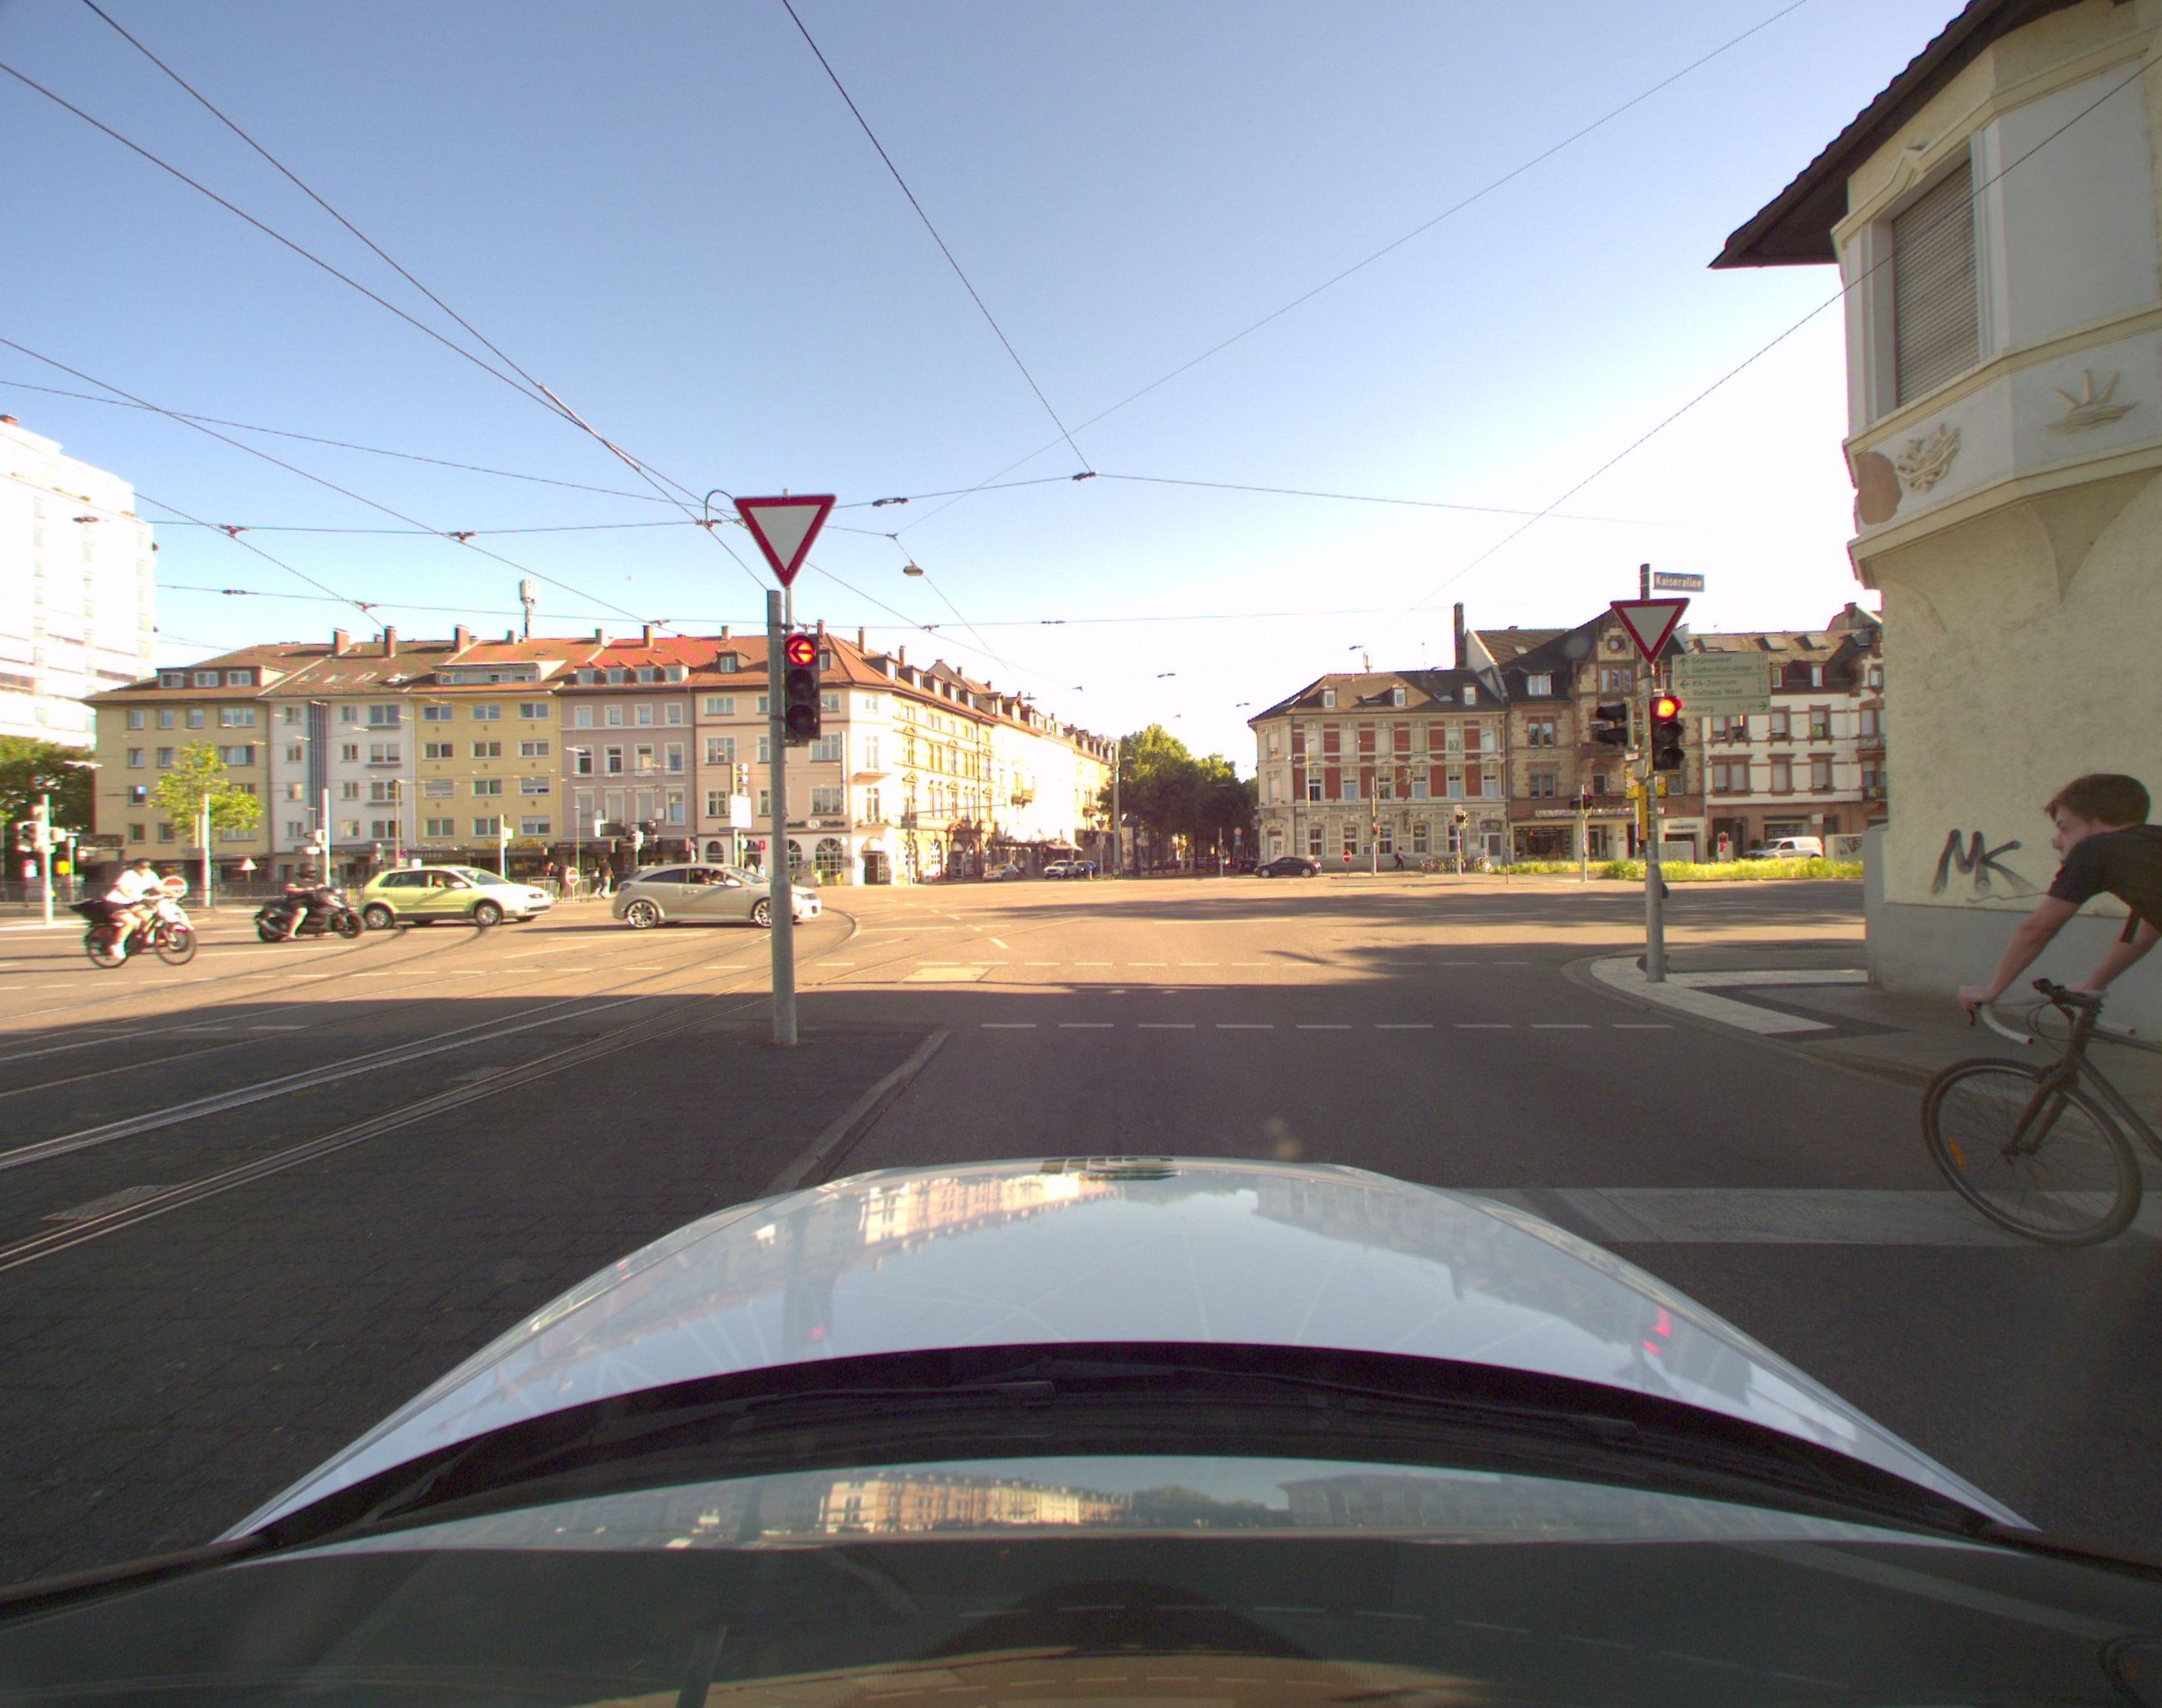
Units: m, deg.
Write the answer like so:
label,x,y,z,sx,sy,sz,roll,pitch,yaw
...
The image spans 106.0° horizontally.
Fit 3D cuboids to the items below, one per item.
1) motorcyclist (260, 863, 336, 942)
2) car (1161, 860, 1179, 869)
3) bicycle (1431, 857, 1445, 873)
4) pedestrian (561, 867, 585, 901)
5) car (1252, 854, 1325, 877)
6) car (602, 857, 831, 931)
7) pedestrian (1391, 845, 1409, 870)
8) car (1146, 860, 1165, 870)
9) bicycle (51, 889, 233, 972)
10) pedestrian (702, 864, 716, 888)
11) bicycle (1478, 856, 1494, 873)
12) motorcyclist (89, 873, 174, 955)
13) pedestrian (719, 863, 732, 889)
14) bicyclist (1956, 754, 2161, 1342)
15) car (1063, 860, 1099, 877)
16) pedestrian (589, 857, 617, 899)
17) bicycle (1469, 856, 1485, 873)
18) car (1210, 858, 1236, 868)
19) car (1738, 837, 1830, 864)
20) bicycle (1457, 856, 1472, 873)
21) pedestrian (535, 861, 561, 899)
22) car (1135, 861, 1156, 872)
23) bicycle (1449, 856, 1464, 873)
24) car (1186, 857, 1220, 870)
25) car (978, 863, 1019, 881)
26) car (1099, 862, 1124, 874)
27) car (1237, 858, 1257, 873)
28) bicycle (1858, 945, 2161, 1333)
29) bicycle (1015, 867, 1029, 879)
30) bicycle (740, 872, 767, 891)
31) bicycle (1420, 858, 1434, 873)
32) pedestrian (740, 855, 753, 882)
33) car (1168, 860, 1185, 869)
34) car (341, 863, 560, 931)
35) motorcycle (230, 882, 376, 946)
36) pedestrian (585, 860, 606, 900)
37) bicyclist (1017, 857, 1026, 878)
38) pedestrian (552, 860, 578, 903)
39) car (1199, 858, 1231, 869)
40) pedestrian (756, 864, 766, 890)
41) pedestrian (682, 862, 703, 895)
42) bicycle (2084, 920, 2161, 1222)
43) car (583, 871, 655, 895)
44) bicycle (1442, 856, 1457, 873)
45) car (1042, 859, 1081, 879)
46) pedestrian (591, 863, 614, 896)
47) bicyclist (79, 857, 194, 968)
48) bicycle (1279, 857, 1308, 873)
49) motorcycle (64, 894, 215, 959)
label,x,y,z,sx,sy,sz,roll,pitch,yaw
motorcyclist,-16.529,1.008,17.211,0.832,1.620,0.814,0,-1,-10
car,14.333,1.700,131.256,1.977,1.404,4.189,-1,0,18
bicycle,23.160,0.720,52.870,0.483,1.020,1.789,-1,0,12
pedestrian,-23.854,1.406,38.247,0.696,1.581,0.560,-1,0,1
car,12.584,0.677,49.444,4.024,1.300,1.732,-1,0,23
car,-7.932,0.840,18.054,4.262,1.441,1.738,-1,-1,-6
pedestrian,22.124,0.213,56.457,1.029,1.712,0.631,-1,-1,10
car,11.202,1.680,122.498,1.977,1.404,4.189,-1,0,18
bicycle,-15.167,1.216,13.194,1.920,1.223,0.741,-1,0,-6
pedestrian,-26.437,1.587,57.888,0.740,1.682,0.626,-1,0,-10
bicycle,26.334,0.666,52.914,0.483,1.020,1.789,-1,0,12
motorcyclist,-18.239,1.134,15.660,0.814,1.507,0.657,-1,0,-10
pedestrian,-23.074,1.403,52.928,0.744,1.682,0.623,-1,0,-23
bicyclist,3.558,0.578,2.497,0.649,1.767,0.995,-1,0,2
car,0.032,1.306,73.803,1.977,1.404,4.189,-1,0,18
pedestrian,-21.401,1.078,36.481,0.764,1.829,0.723,-1,0,1
bicycle,25.629,0.670,52.759,0.483,1.020,1.789,-1,0,12
car,19.383,1.207,111.186,3.409,1.239,1.582,-1,0,13
car,45.293,-0.243,52.501,4.239,1.622,1.999,-1,0,-1
bicycle,24.818,0.675,52.711,0.483,1.020,1.789,-1,0,12
pedestrian,-23.495,1.136,35.927,0.738,1.635,0.572,-1,0,1
car,9.248,1.805,116.820,1.977,1.404,4.189,-1,0,18
bicycle,24.315,0.680,52.802,0.483,1.020,1.789,-1,0,12
car,14.964,1.149,99.504,3.959,1.454,1.687,-1,0,13
car,-6.757,1.471,67.360,1.977,1.361,3.836,-1,0,18
car,3.834,1.704,102.172,1.977,1.404,4.189,-1,0,18
car,16.801,1.127,82.289,1.742,1.420,4.016,-1,0,14
bicycle,3.560,0.921,2.499,0.568,1.058,1.890,-1,0,2
bicycle,-4.761,1.526,65.565,0.650,1.000,1.671,-1,-1,14
bicycle,-23.198,1.954,57.630,1.714,1.276,0.385,-1,0,-16
bicycle,22.484,0.730,52.974,0.483,0.914,1.789,-1,0,12
pedestrian,-21.748,0.936,52.929,0.744,1.682,0.623,-1,0,-23
car,16.032,1.729,136.415,1.977,1.404,4.189,-1,0,18
car,-15.571,1.025,20.303,3.949,1.498,1.738,-1,0,-6
motorcycle,-16.418,1.246,17.230,2.205,1.228,0.692,-1,0,-10
pedestrian,-22.383,1.186,37.556,0.558,1.786,0.560,-1,0,1
bicyclist,-4.767,1.088,65.467,0.486,1.601,0.668,-1,0,12
pedestrian,-22.606,1.195,35.685,0.625,1.850,0.778,-1,0,1
car,17.338,1.219,105.157,3.959,1.288,1.700,-1,0,13
pedestrian,-15.801,1.130,40.235,0.364,1.253,0.449,-1,0,-10
pedestrian,-20.069,1.268,42.095,0.738,1.682,0.628,-1,0,1
bicycle,4.503,0.860,2.485,0.568,1.165,1.890,-1,0,2
car,-30.345,1.893,53.532,3.711,1.491,1.820,0,-1,4
bicycle,23.855,0.683,52.752,0.483,1.020,1.789,-1,0,12
car,-1.588,1.231,67.666,1.977,1.516,4.189,-1,0,18
pedestrian,-24.904,1.302,42.376,0.764,1.682,0.628,-1,0,1
bicyclist,-15.232,0.914,13.156,0.937,1.713,0.732,-1,0,-6
bicycle,14.914,0.748,57.136,1.940,1.054,0.717,-1,0,11
motorcycle,-18.079,1.378,15.677,2.025,1.118,0.503,-1,0,-10
